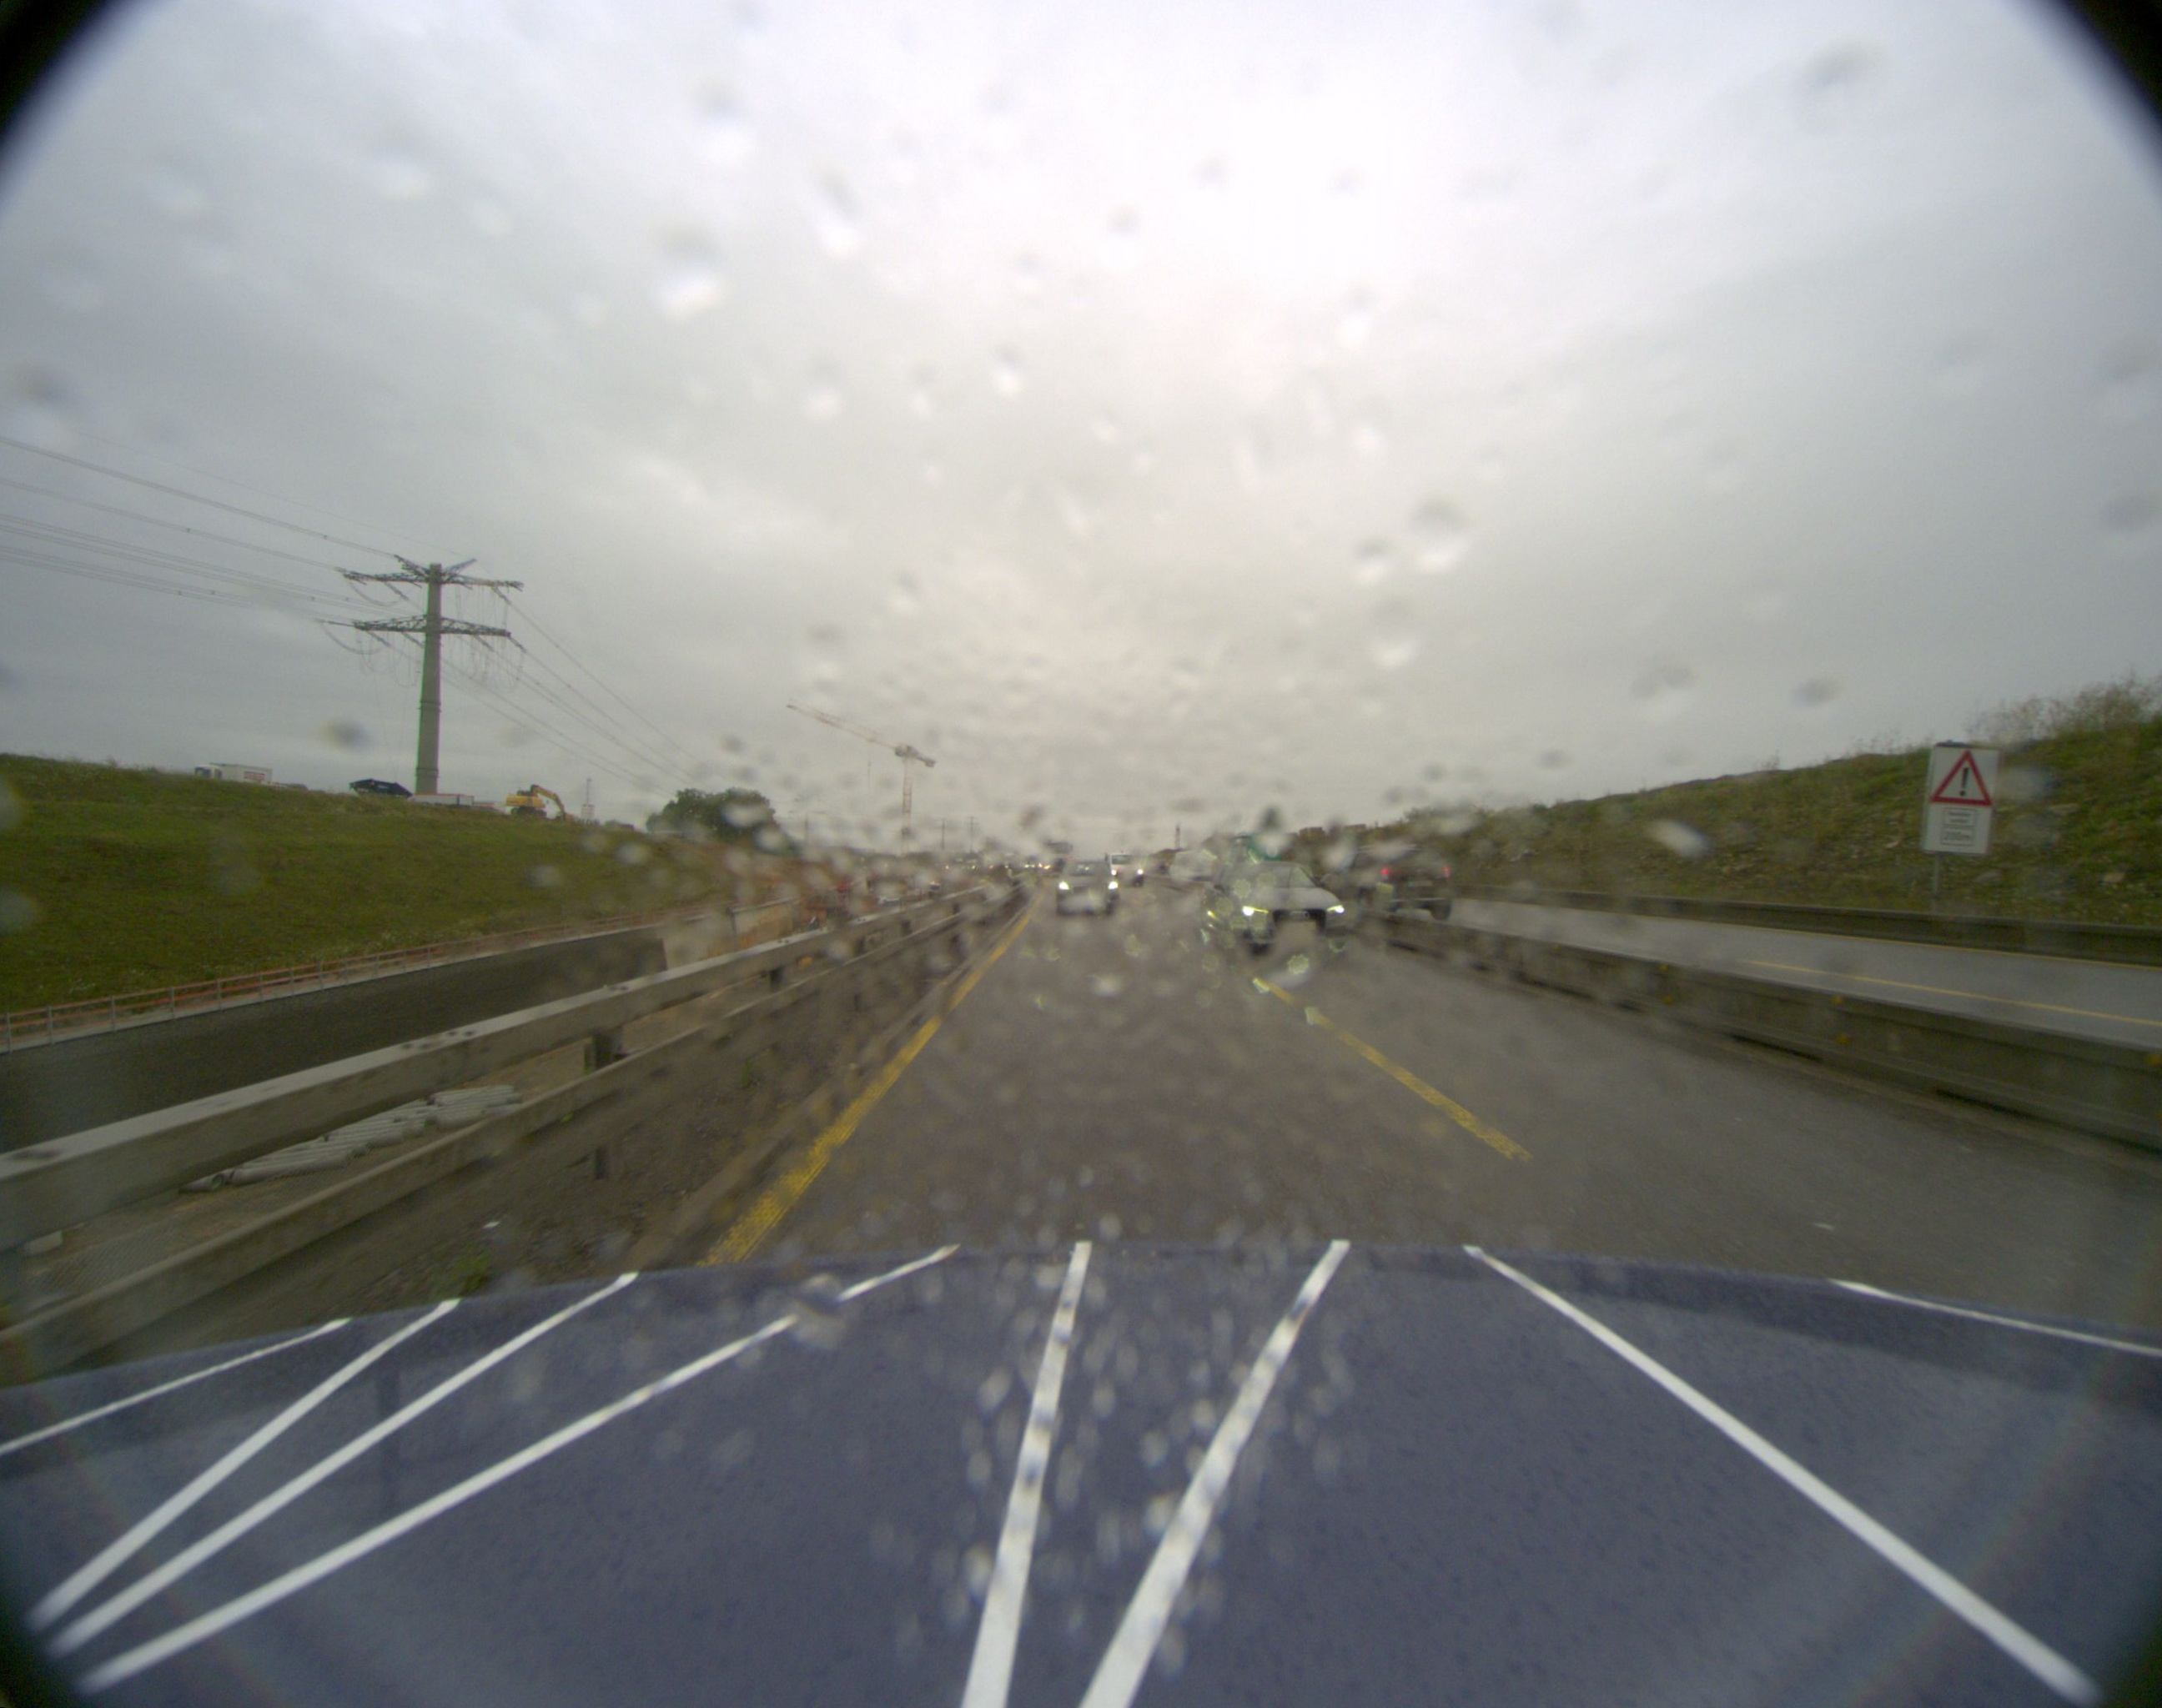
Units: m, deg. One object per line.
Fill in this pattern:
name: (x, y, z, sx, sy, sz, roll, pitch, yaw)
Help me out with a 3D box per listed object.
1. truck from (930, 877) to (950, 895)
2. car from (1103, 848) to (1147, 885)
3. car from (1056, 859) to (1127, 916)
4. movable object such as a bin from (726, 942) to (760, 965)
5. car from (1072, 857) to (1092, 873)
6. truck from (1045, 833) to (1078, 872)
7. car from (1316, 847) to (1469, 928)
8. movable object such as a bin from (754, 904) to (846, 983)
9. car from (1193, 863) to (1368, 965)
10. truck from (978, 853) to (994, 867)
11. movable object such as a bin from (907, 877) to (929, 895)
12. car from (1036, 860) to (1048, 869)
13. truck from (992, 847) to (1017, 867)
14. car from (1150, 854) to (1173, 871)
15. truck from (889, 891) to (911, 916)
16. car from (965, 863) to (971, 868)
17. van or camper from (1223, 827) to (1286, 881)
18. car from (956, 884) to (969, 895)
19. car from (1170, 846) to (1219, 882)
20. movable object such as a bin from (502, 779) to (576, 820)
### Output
truck: (-32.023, 7.190, 173.184, 3.362, 3.521, 8.902, -1, 2, -3)
car: (2.438, 0.652, 43.373, 2.070, 1.933, 5.155, -1, 0, -1)
car: (0.231, 0.915, 22.562, 1.874, 1.481, 4.260, -1, 0, -1)
movable object such as a bin: (-36.505, 10.701, 82.104, 2.524, 1.900, 3.254, -4, 1, -9)
car: (0.066, 1.225, 87.333, 1.790, 1.744, 3.998, -2, 0, -6)
truck: (-1.990, -0.135, 74.049, 2.857, 3.462, 8.640, -1, 0, -3)
car: (7.007, 0.688, 17.568, 1.765, 1.588, 3.999, -2, 0, -1)
movable object such as a bin: (-27.654, 8.620, 75.778, 4.907, 5.639, 12.081, -3, 3, -3)
car: (3.214, 0.896, 13.130, 1.805, 1.375, 4.087, -1, 0, -2)
truck: (-27.507, 1.656, 219.009, 3.549, 3.870, 8.326, -3, 0, -13)
movable object such as a bin: (-35.580, 7.008, 166.169, 3.517, 3.405, 6.650, -1, 1, -1)
car: (-7.882, 2.145, 152.901, 1.791, 1.646, 3.996, -3, 0, -12)
truck: (-17.494, 0.676, 172.489, 4.321, 4.319, 13.396, -3, 0, -10)
car: (7.664, 0.797, 72.751, 1.718, 1.527, 4.046, -2, 0, 0)
truck: (-31.478, 8.561, 132.323, 2.711, 3.591, 9.067, 0, 1, -6)
car: (-35.656, 3.546, 240.166, 1.791, 1.418, 3.996, -2, 0, -10)
van or camper: (9.814, 0.002, 43.529, 2.106, 2.801, 5.942, -2, 0, -1)
car: (-26.492, 7.946, 169.885, 1.999, 2.002, 3.999, -15, 1, -3)
car: (6.516, 0.555, 44.257, 2.006, 1.876, 5.273, -2, 0, 0)
movable object such as a bin: (-64.094, -6.345, 90.159, 3.107, 4.181, 8.177, 0, 0, -2)
